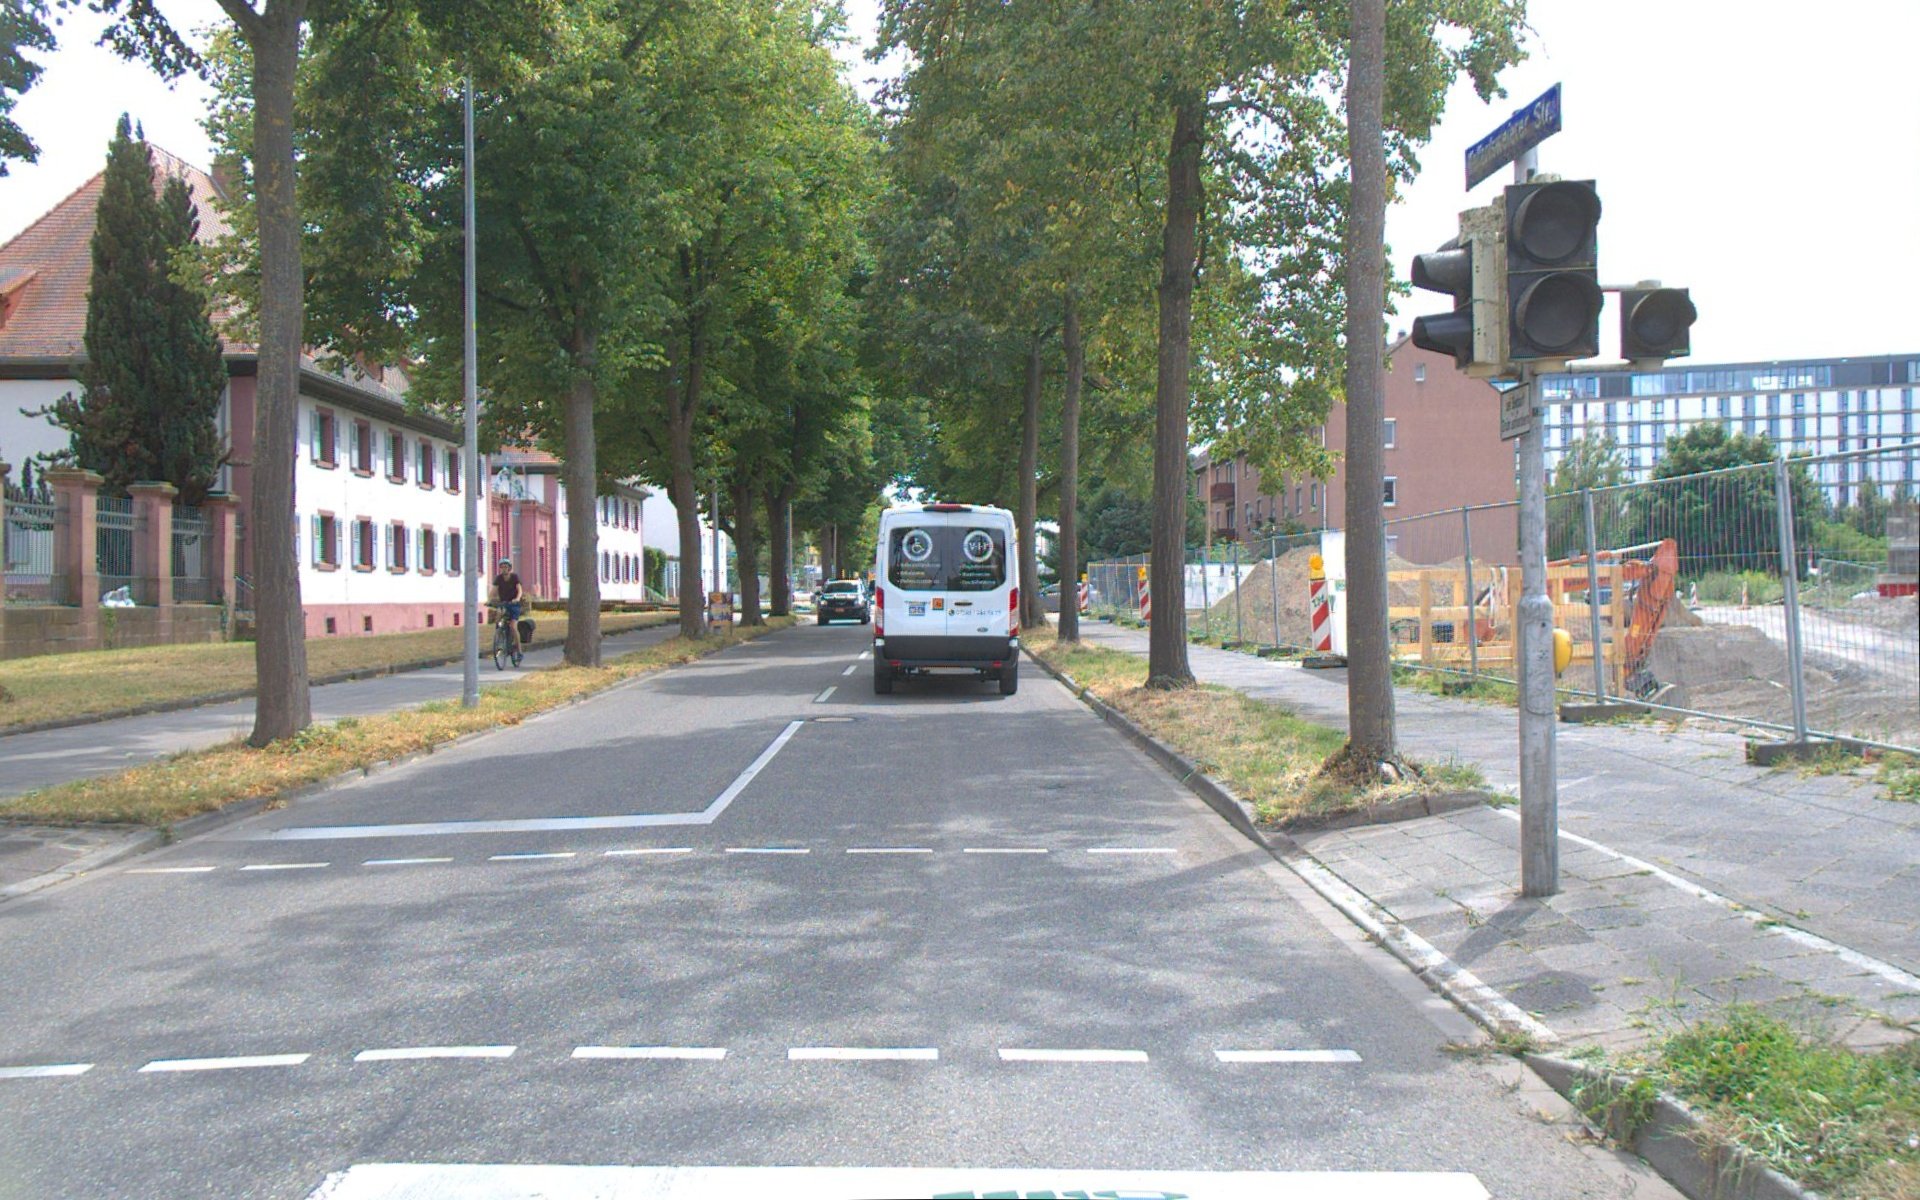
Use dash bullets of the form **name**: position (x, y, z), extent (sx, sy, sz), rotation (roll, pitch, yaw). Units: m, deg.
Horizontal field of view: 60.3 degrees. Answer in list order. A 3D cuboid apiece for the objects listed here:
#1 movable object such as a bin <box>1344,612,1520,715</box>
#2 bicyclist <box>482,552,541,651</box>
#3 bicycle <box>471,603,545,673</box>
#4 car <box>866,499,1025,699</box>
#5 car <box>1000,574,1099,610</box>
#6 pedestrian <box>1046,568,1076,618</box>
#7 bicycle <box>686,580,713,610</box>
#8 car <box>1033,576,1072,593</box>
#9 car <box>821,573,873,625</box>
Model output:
- **movable object such as a bin**: position (13.434, 1.796, 47.453), extent (4.583, 2.635, 3.135), rotation (-2, 0, 13)
- **bicyclist**: position (-7.956, 0.016, 29.360), extent (0.708, 1.685, 0.958), rotation (3, 0, -1)
- **bicycle**: position (-7.980, 0.649, 29.316), extent (0.708, 1.114, 2.151), rotation (3, 1, -1)
- **car**: position (-0.297, -0.022, 23.453), extent (2.022, 2.584, 3.997), rotation (0, 0, -4)
- **car**: position (3.959, -0.348, 73.828), extent (4.281, 1.468, 2.011), rotation (-1, -2, 0)
- **pedestrian**: position (3.819, -0.266, 62.220), extent (0.864, 1.846, 0.889), rotation (-2, 0, 18)
- **bicycle**: position (-10.395, -0.217, 65.997), extent (0.708, 1.114, 2.225), rotation (3, 1, -1)
- **car**: position (11.433, -1.904, 204.108), extent (4.326, 1.848, 2.005), rotation (-2, 0, 38)
- **car**: position (-4.037, -0.067, 59.311), extent (1.737, 1.688, 4.254), rotation (-2, 2, -4)
